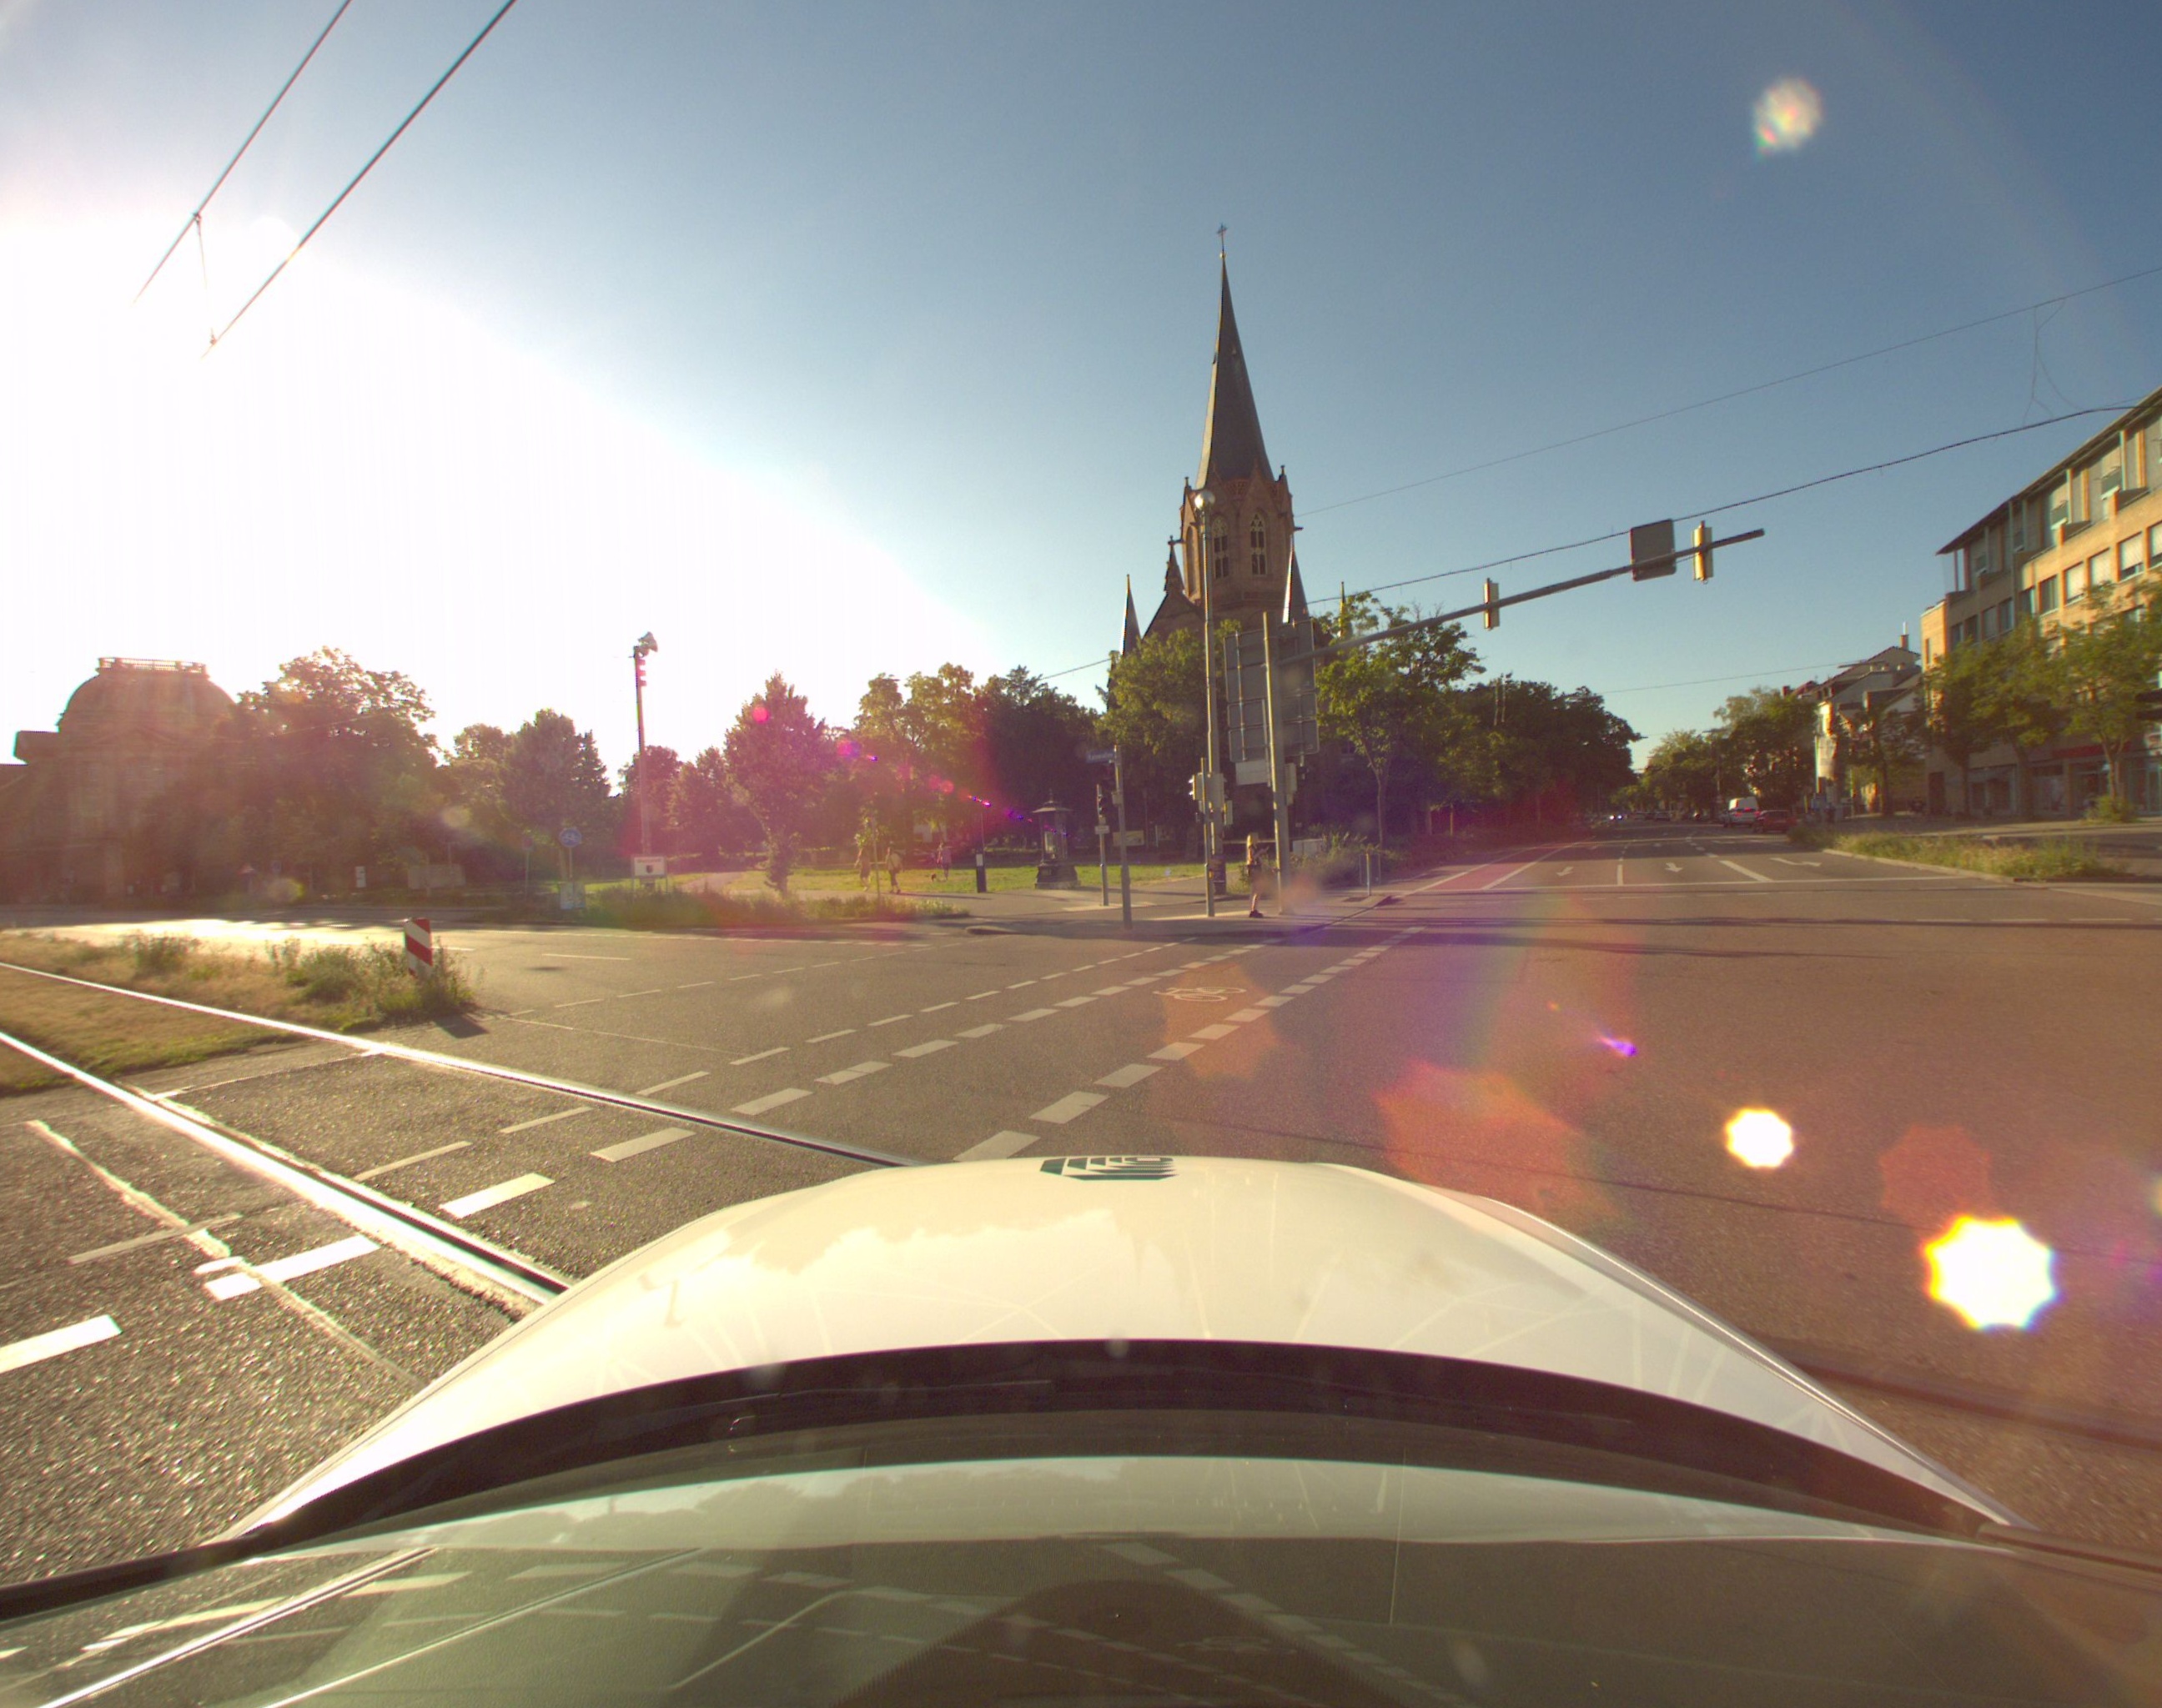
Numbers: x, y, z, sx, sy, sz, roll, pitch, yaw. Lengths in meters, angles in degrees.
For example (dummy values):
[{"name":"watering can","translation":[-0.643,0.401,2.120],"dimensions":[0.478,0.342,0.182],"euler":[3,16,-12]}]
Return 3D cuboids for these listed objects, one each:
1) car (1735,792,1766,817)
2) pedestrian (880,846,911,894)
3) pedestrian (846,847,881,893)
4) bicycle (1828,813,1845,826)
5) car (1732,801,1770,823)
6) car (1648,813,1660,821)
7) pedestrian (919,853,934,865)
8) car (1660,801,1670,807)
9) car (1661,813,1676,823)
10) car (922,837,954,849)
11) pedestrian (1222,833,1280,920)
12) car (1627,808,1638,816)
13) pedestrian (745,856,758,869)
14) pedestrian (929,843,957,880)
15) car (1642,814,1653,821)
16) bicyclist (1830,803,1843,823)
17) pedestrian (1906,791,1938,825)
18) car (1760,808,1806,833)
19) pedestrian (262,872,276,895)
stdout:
[{"name":"car","translation":[67.468,-4.955,82.116],"dimensions":[1.974,2.440,4.026],"euler":[-1,2,33]},{"name":"pedestrian","translation":[-6.863,0.575,30.080],"dimensions":[0.714,1.696,0.885],"euler":[-3,2,-42]},{"name":"pedestrian","translation":[-8.322,0.612,31.199],"dimensions":[1.004,1.696,0.850],"euler":[0,2,44]},{"name":"bicycle","translation":[55.078,-2.528,59.377],"dimensions":[0.586,0.943,1.991],"euler":[0,3,33]},{"name":"car","translation":[54.007,-3.377,65.688],"dimensions":[1.898,1.607,4.297],"euler":[-1,2,33]},{"name":"car","translation":[95.388,-6.200,135.597],"dimensions":[1.579,1.267,3.288],"euler":[-2,2,33]},{"name":"pedestrian","translation":[-12.646,0.412,66.708],"dimensions":[0.796,0.953,1.178],"euler":[-1,2,12]},{"name":"car","translation":[126.455,-10.856,176.463],"dimensions":[1.579,1.267,3.288],"euler":[-2,2,33]},{"name":"car","translation":[86.094,-5.301,119.411],"dimensions":[1.579,1.267,3.288],"euler":[-2,2,33]},{"name":"car","translation":[-22.389,-1.686,127.350],"dimensions":[4.411,1.571,2.011],"euler":[-2,1,22]},{"name":"pedestrian","translation":[3.554,0.448,16.989],"dimensions":[0.801,1.739,0.974],"euler":[-2,1,34]},{"name":"car","translation":[119.387,-9.140,176.278],"dimensions":[1.868,1.670,4.026],"euler":[-1,2,33]},{"name":"pedestrian","translation":[-32.074,0.830,79.287],"dimensions":[0.834,1.187,0.818],"euler":[-2,1,32]},{"name":"pedestrian","translation":[-6.552,0.356,38.637],"dimensions":[0.849,1.696,1.004],"euler":[-3,2,-44]},{"name":"car","translation":[105.310,-6.810,151.344],"dimensions":[1.579,1.267,3.288],"euler":[-2,2,33]},{"name":"bicyclist","translation":[55.053,-2.992,59.343],"dimensions":[0.586,1.368,0.936],"euler":[0,3,33]},{"name":"pedestrian","translation":[51.752,-2.825,50.130],"dimensions":[1.097,1.976,1.169],"euler":[-2,1,33]},{"name":"car","translation":[43.923,-2.087,51.032],"dimensions":[1.653,1.462,4.026],"euler":[-1,2,33]},{"name":"pedestrian","translation":[-67.744,2.454,67.965],"dimensions":[0.528,1.822,0.690],"euler":[-2,1,37]}]
